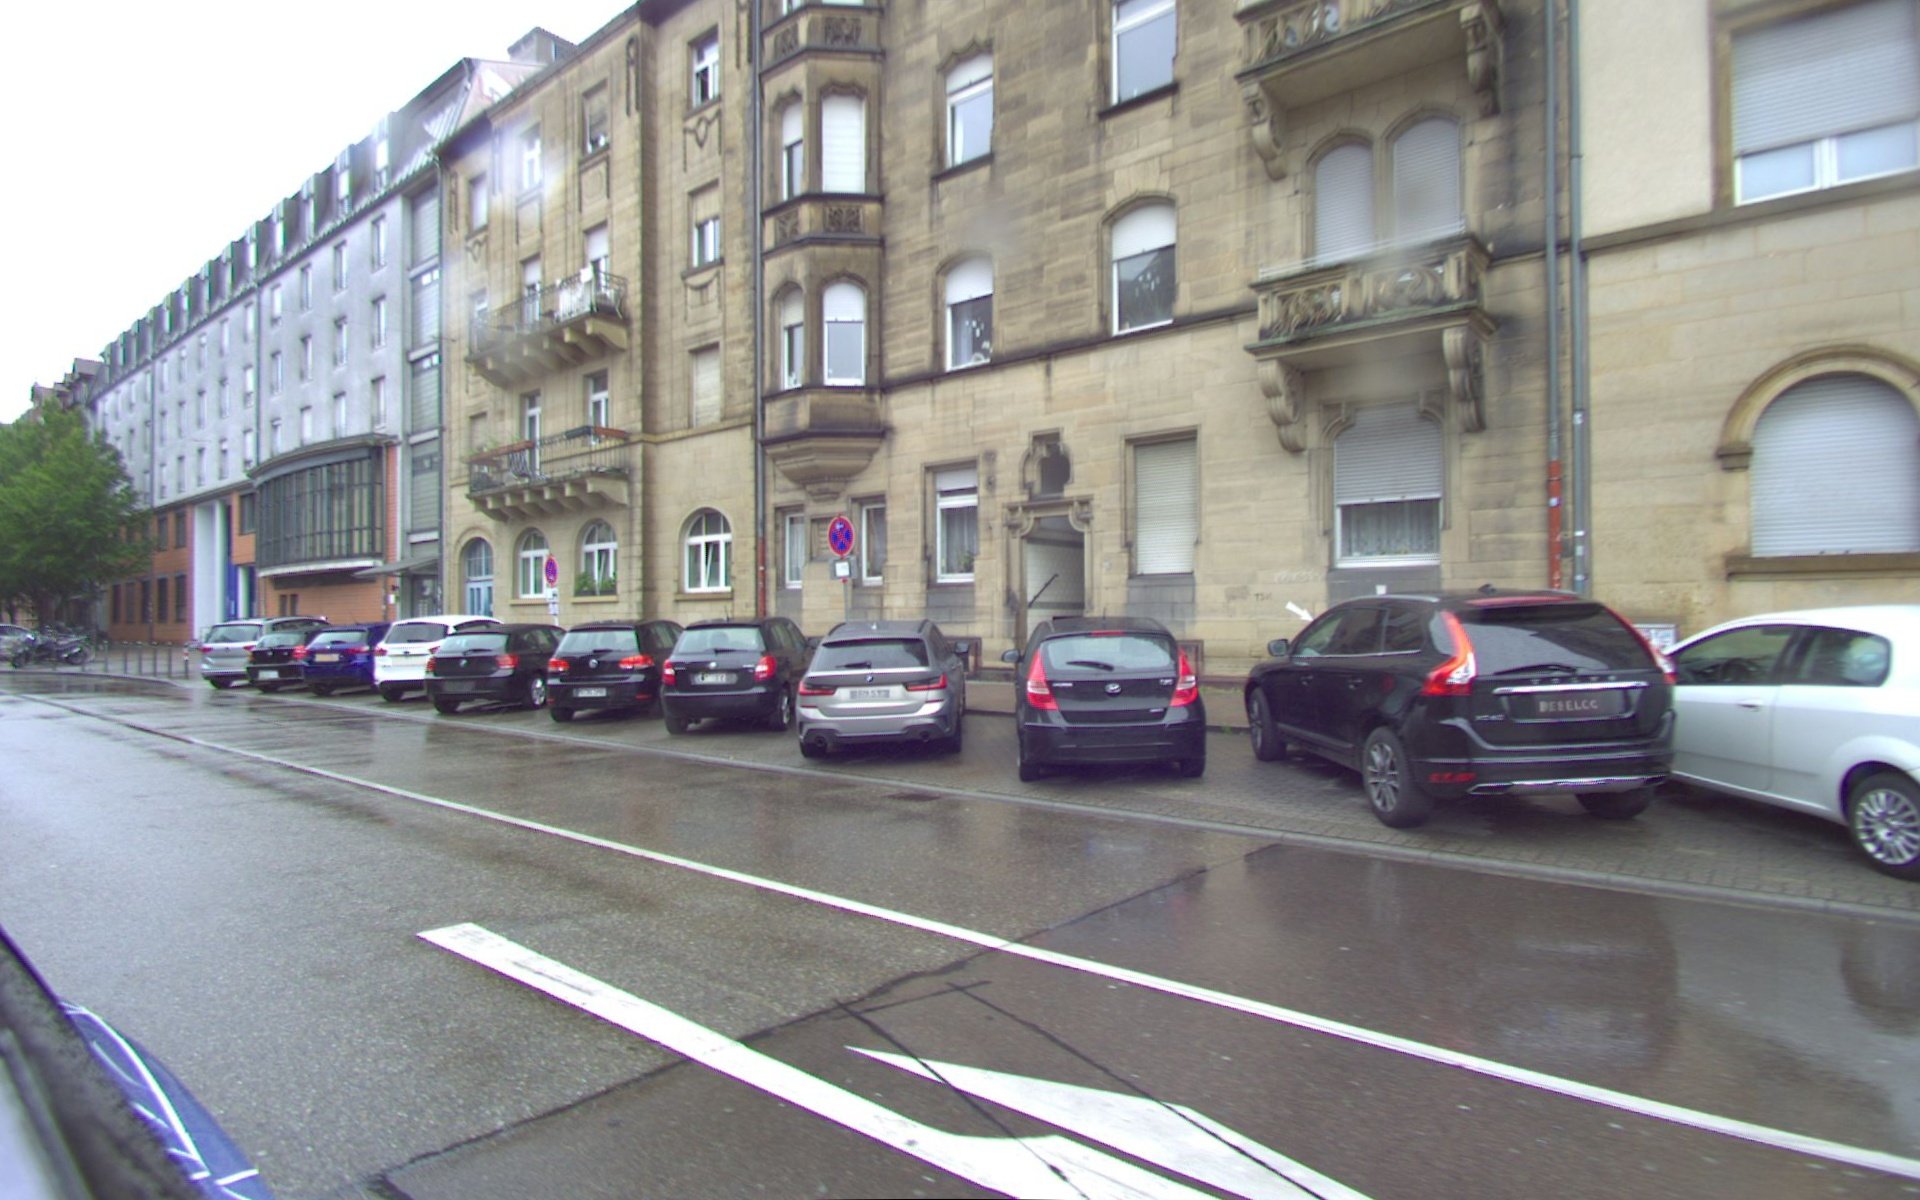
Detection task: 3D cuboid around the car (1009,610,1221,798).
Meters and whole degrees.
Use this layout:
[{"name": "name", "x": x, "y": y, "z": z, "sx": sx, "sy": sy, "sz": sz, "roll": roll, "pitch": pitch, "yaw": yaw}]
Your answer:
[{"name": "car", "x": 1.399, "y": 0.903, "z": 10.282, "sx": 1.678, "sy": 1.537, "sz": 3.309, "roll": -2, "pitch": 0, "yaw": 2}]

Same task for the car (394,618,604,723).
[{"name": "car", "x": -7.965, "y": 1.159, "z": 17.870, "sx": 1.756, "sy": 1.555, "sz": 3.722, "roll": -2, "pitch": 0, "yaw": 5}]

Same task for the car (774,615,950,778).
[{"name": "car", "x": -1.013, "y": 1.005, "z": 11.946, "sx": 1.677, "sy": 1.555, "sz": 3.429, "roll": -2, "pitch": 0, "yaw": 1}]

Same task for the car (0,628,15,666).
[{"name": "car", "x": -45.490, "y": 2.131, "z": 45.642, "sx": 1.992, "sy": 1.728, "sz": 3.763, "roll": -1, "pitch": -2, "yaw": 30}]

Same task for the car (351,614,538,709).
[{"name": "car", "x": -10.177, "y": 1.151, "z": 20.309, "sx": 1.755, "sy": 1.639, "sz": 3.725, "roll": -2, "pitch": 0, "yaw": 2}]

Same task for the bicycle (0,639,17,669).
[{"name": "bicycle", "x": -36.275, "y": 2.021, "z": 37.663, "sx": 0.544, "sy": 1.081, "sz": 1.667, "roll": -1, "pitch": -2, "yaw": 37}]

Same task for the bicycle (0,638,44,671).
[{"name": "bicycle", "x": -33.254, "y": 1.920, "z": 35.419, "sx": 0.544, "sy": 1.081, "sz": 1.668, "roll": -1, "pitch": 1, "yaw": 37}]

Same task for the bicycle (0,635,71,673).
[{"name": "bicycle", "x": -32.266, "y": 1.859, "z": 35.109, "sx": 0.772, "sy": 1.181, "sz": 2.025, "roll": -1, "pitch": 1, "yaw": 37}]

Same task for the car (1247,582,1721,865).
[{"name": "car", "x": 3.812, "y": 0.771, "z": 8.301, "sx": 1.740, "sy": 1.705, "sz": 4.084, "roll": -2, "pitch": 0, "yaw": 1}]

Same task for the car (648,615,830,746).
[{"name": "car", "x": -3.001, "y": 1.038, "z": 14.433, "sx": 1.607, "sy": 1.555, "sz": 3.440, "roll": -2, "pitch": 0, "yaw": 4}]

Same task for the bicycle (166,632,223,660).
[{"name": "bicycle", "x": -34.624, "y": 2.081, "z": 45.799, "sx": 1.873, "sy": 1.234, "sz": 0.939, "roll": 1, "pitch": -2, "yaw": -24}]

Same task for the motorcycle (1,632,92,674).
[{"name": "motorcycle", "x": -31.332, "y": 1.789, "z": 34.724, "sx": 0.758, "sy": 1.320, "sz": 2.227, "roll": -2, "pitch": 0, "yaw": 40}]

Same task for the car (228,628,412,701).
[{"name": "car", "x": -14.649, "y": 1.440, "z": 23.433, "sx": 1.696, "sy": 1.539, "sz": 3.721, "roll": 0, "pitch": -2, "yaw": 5}]

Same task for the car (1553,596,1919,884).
[{"name": "car", "x": 6.084, "y": 0.766, "z": 6.917, "sx": 1.681, "sy": 1.545, "sz": 3.993, "roll": -2, "pitch": 0, "yaw": 1}]

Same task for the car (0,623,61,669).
[{"name": "car", "x": -39.299, "y": 1.855, "z": 40.921, "sx": 1.980, "sy": 1.828, "sz": 3.982, "roll": 0, "pitch": -2, "yaw": 13}]

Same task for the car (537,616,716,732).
[{"name": "car", "x": -5.197, "y": 1.078, "z": 16.265, "sx": 1.605, "sy": 1.555, "sz": 3.759, "roll": -2, "pitch": 0, "yaw": 0}]

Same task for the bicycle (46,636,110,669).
[{"name": "bicycle", "x": -32.082, "y": 1.905, "z": 36.829, "sx": 0.544, "sy": 1.081, "sz": 1.668, "roll": -1, "pitch": 1, "yaw": 37}]

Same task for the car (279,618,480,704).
[{"name": "car", "x": -12.439, "y": 1.237, "z": 21.984, "sx": 1.881, "sy": 1.539, "sz": 3.717, "roll": 0, "pitch": 1, "yaw": 9}]

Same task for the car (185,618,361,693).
[{"name": "car", "x": -17.053, "y": 1.354, "z": 25.363, "sx": 1.790, "sy": 1.743, "sz": 3.924, "roll": 0, "pitch": -2, "yaw": -1}]

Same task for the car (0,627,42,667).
[{"name": "car", "x": -42.817, "y": 2.056, "z": 44.056, "sx": 1.992, "sy": 1.728, "sz": 3.763, "roll": -1, "pitch": -2, "yaw": 30}]
